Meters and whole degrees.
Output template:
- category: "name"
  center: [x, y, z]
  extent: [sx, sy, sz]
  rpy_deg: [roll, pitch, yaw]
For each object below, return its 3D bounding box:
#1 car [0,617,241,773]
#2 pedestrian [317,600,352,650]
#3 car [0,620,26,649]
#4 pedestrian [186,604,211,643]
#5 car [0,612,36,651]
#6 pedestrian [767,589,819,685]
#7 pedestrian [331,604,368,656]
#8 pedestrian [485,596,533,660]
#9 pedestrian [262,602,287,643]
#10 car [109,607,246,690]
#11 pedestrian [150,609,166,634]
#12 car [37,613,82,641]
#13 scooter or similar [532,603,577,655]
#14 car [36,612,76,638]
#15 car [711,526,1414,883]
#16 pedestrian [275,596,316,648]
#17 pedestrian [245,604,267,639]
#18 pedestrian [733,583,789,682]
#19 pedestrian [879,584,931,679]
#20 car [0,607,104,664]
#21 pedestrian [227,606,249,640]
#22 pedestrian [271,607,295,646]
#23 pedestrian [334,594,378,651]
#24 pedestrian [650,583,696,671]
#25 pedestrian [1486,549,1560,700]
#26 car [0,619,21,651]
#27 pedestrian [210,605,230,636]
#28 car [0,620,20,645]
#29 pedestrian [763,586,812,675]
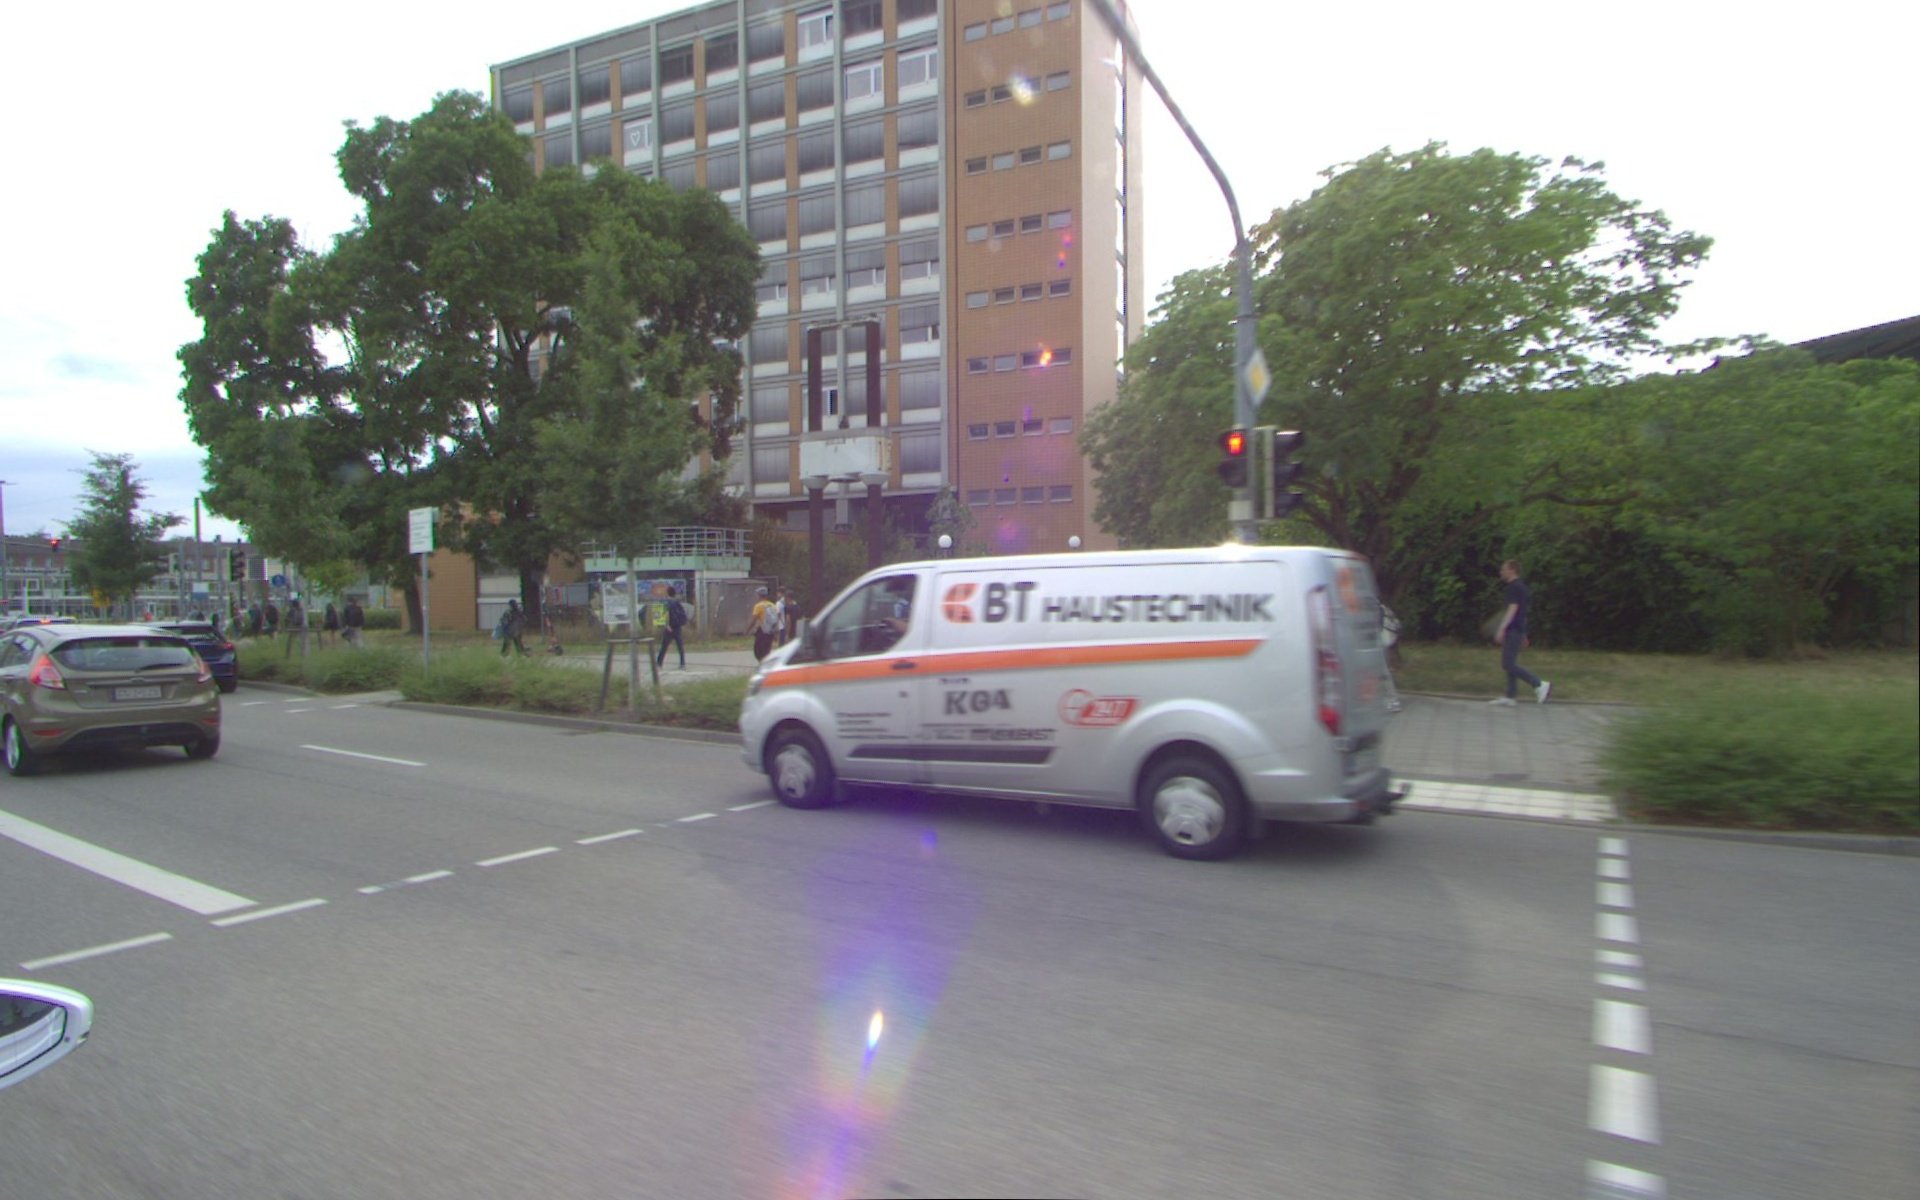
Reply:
- category: "car"
  center: [-9.564, 0.923, 10.877]
  extent: [3.649, 1.422, 1.691]
  rpy_deg: [-1, -2, 34]
- category: "pedestrian"
  center: [-22.095, 0.894, 35.386]
  extent: [0.800, 1.733, 0.777]
  rpy_deg: [-1, -1, 31]
- category: "car"
  center: [-48.652, 1.752, 50.843]
  extent: [1.699, 1.438, 3.964]
  rpy_deg: [1, -2, -42]
- category: "pedestrian"
  center: [-31.871, 0.969, 41.924]
  extent: [0.770, 1.595, 0.806]
  rpy_deg: [-3, 2, -36]
- category: "car"
  center: [-37.388, 1.223, 38.915]
  extent: [2.117, 1.438, 3.667]
  rpy_deg: [2, -2, -42]
- category: "pedestrian"
  center: [-3.097, 0.679, 18.582]
  extent: [0.698, 1.733, 0.637]
  rpy_deg: [-1, -1, 31]
- category: "pedestrian"
  center: [-20.798, 1.019, 34.128]
  extent: [0.800, 1.733, 0.777]
  rpy_deg: [-1, -1, 31]
- category: "pedestrian"
  center: [-11.735, 0.722, 26.042]
  extent: [0.800, 1.595, 0.776]
  rpy_deg: [-1, 2, 31]
- category: "pedestrian"
  center: [-27.404, 0.885, 40.028]
  extent: [0.770, 1.595, 0.806]
  rpy_deg: [-3, 2, -36]
- category: "car"
  center: [-15.871, 0.952, 20.255]
  extent: [3.596, 1.527, 1.657]
  rpy_deg: [-2, -2, 43]
- category: "pedestrian"
  center: [-53.593, 1.436, 66.923]
  extent: [0.770, 1.595, 0.806]
  rpy_deg: [-3, 2, -36]
- category: "car"
  center: [-47.751, 1.429, 53.130]
  extent: [1.692, 1.438, 3.667]
  rpy_deg: [1, -2, -42]
- category: "scooter or similar"
  center: [-10.941, 0.785, 26.987]
  extent: [1.127, 1.388, 0.398]
  rpy_deg: [0, -1, 18]
- category: "car"
  center: [-52.519, 1.487, 58.219]
  extent: [1.692, 1.438, 3.667]
  rpy_deg: [1, -2, -42]
- category: "car"
  center: [0.583, 0.649, 7.710]
  extent: [5.130, 1.984, 1.816]
  rpy_deg: [-1, -2, 32]
- category: "pedestrian"
  center: [-22.590, 0.746, 34.050]
  extent: [1.013, 1.733, 0.777]
  rpy_deg: [-1, -1, 31]
- category: "pedestrian"
  center: [-32.655, 1.002, 46.469]
  extent: [0.770, 1.595, 0.806]
  rpy_deg: [-3, 2, -36]
- category: "pedestrian"
  center: [-3.572, 0.578, 17.992]
  extent: [0.698, 1.734, 0.636]
  rpy_deg: [-1, 1, 31]
- category: "pedestrian"
  center: [-1.033, 0.584, 18.937]
  extent: [0.698, 1.734, 0.636]
  rpy_deg: [-1, 2, 31]
- category: "car"
  center: [-26.818, 1.036, 29.434]
  extent: [3.954, 1.552, 1.850]
  rpy_deg: [-1, -2, 39]
- category: "pedestrian"
  center: [-34.348, 1.082, 47.660]
  extent: [0.770, 1.595, 0.806]
  rpy_deg: [-3, 2, -36]
- category: "pedestrian"
  center: [-28.357, 1.114, 41.927]
  extent: [0.770, 1.595, 0.806]
  rpy_deg: [-3, 2, -36]
- category: "pedestrian"
  center: [-18.778, 0.702, 31.151]
  extent: [1.013, 1.733, 0.777]
  rpy_deg: [-1, -1, 31]
- category: "pedestrian"
  center: [-6.225, 0.571, 21.739]
  extent: [0.698, 1.877, 0.637]
  rpy_deg: [-1, 1, 31]
- category: "pedestrian"
  center: [7.167, 0.316, 12.751]
  extent: [0.788, 1.831, 0.836]
  rpy_deg: [-1, -1, 31]
- category: "car"
  center: [-45.053, 1.615, 46.712]
  extent: [1.699, 1.438, 3.964]
  rpy_deg: [1, -2, -42]
- category: "pedestrian"
  center: [-39.131, 1.062, 52.930]
  extent: [0.770, 1.595, 0.806]
  rpy_deg: [-3, 2, -36]
- category: "car"
  center: [-55.529, 1.875, 57.799]
  extent: [1.699, 1.438, 3.964]
  rpy_deg: [1, -2, -42]
- category: "pedestrian"
  center: [-3.421, 0.601, 19.893]
  extent: [0.698, 1.733, 0.637]
  rpy_deg: [-1, 0, 31]
